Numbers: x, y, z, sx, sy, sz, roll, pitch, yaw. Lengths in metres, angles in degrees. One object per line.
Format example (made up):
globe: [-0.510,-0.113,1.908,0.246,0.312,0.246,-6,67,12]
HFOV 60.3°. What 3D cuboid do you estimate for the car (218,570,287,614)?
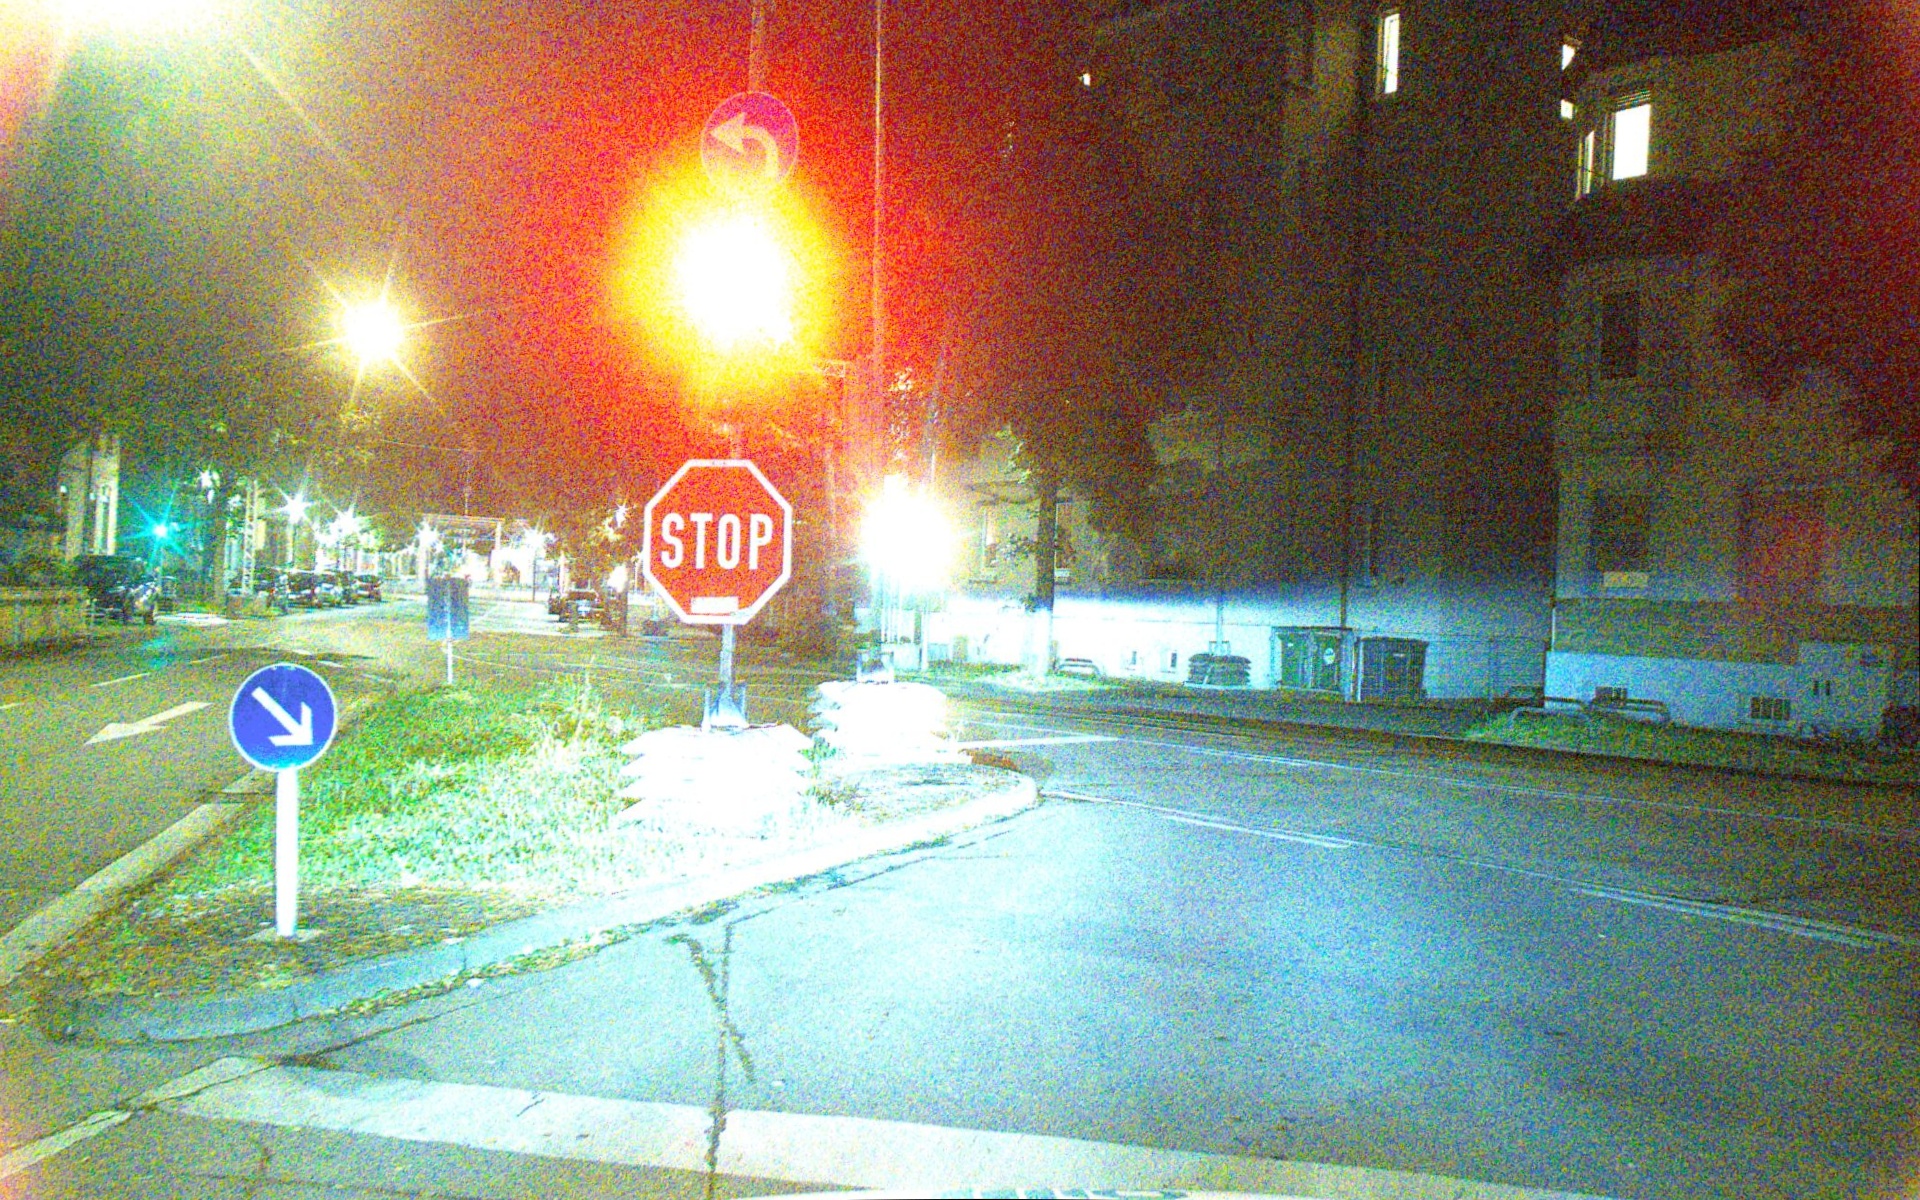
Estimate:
car: [-25.240,-0.292,59.094,1.624,1.456,3.985,2,0,-15]

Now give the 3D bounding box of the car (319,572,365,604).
car: [-29.664,-0.577,79.477,1.624,1.456,3.985,2,0,-15]

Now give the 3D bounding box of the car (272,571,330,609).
car: [-26.571,-0.404,66.810,1.624,1.456,3.985,2,0,-15]

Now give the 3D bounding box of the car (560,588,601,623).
car: [-16.594,0.214,72.317,1.623,1.456,3.987,2,0,-13]

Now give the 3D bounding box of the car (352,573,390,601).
car: [-32.968,-0.741,92.691,1.624,1.456,3.985,2,0,-15]

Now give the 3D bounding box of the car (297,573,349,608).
car: [-28.090,-0.428,73.029,1.624,1.456,3.985,2,0,-15]

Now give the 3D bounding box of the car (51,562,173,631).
car: [-19.487,-0.097,38.152,1.624,1.456,3.985,2,0,-15]
